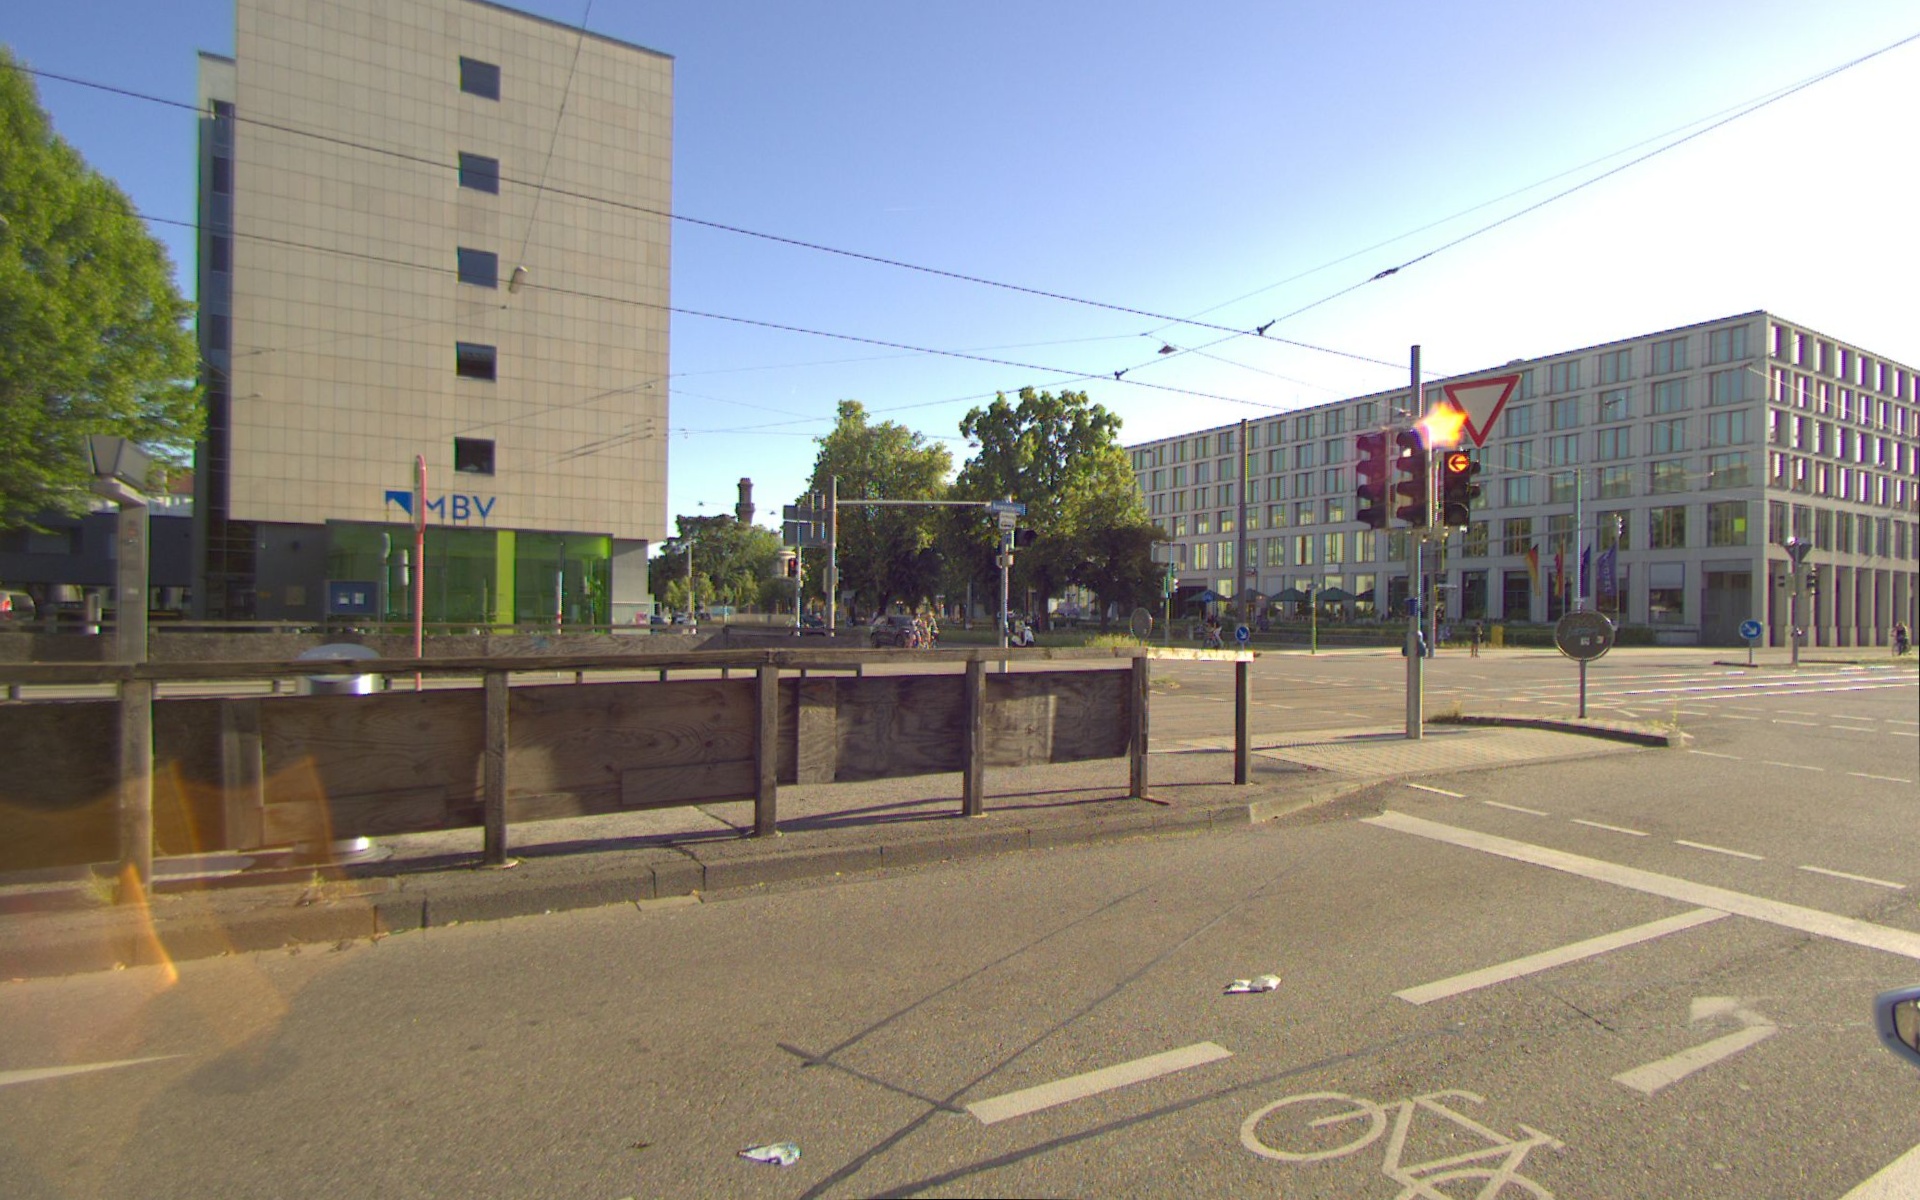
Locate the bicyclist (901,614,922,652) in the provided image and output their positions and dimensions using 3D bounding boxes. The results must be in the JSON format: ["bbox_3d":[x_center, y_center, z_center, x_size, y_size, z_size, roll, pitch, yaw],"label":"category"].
[{"bbox_3d":[-2.022,1.382,42.015,0.577,1.563,0.833,1,-2,-32],"label":"bicyclist"}]

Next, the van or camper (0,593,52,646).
[{"bbox_3d":[-27.877,0.451,27.564,3.954,1.425,1.954,4,-3,-30],"label":"van or camper"}]

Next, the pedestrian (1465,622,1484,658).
[{"bbox_3d":[25.089,1.952,49.000,0.597,1.703,0.602,1,-1,-22],"label":"pedestrian"}]

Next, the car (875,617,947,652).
[{"bbox_3d":[-2.403,1.647,48.369,1.925,1.561,3.969,2,-2,-29],"label":"car"}]

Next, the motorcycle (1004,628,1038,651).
[{"bbox_3d":[2.858,1.834,46.954,0.624,1.030,1.972,-3,1,-28],"label":"motorcycle"}]

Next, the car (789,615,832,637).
[{"bbox_3d":[-10.653,1.848,71.583,1.674,1.506,3.719,1,-1,-33],"label":"car"}]

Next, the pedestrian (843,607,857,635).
[{"bbox_3d":[-8.144,1.578,74.135,0.772,2.040,0.747,1,-1,-31],"label":"pedestrian"}]

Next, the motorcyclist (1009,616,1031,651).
[{"bbox_3d":[2.818,1.552,46.985,0.624,1.601,0.812,-3,1,-28],"label":"motorcyclist"}]

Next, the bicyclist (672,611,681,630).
[{"bbox_3d":[-24.924,1.814,88.182,0.576,1.658,0.890,1,-1,-27],"label":"bicyclist"}]

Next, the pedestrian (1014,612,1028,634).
[{"bbox_3d":[5.097,1.911,83.464,0.858,1.738,0.737,2,0,-26],"label":"pedestrian"}]

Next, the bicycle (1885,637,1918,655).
[{"bbox_3d":[44.784,2.172,47.782,1.695,0.834,0.570,1,-1,-25],"label":"bicycle"}]

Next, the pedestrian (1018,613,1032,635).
[{"bbox_3d":[5.155,1.893,79.564,0.858,1.738,0.737,2,0,-26],"label":"pedestrian"}]

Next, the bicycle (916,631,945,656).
[{"bbox_3d":[-1.256,1.828,42.380,0.576,1.032,1.666,1,-1,-27],"label":"bicycle"}]

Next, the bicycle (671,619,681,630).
[{"bbox_3d":[-24.920,2.149,88.170,0.576,1.032,1.666,1,-1,-27],"label":"bicycle"}]

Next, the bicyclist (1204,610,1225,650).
[{"bbox_3d":[11.349,1.336,44.810,0.762,1.784,0.532,1,-1,-30],"label":"bicyclist"}]

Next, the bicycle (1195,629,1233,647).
[{"bbox_3d":[11.330,1.689,44.796,1.831,0.798,0.532,1,-1,-31],"label":"bicycle"}]

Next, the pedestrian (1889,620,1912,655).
[{"bbox_3d":[44.716,1.775,47.751,0.734,1.616,0.570,1,-1,-24],"label":"pedestrian"}]

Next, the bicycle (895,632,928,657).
[{"bbox_3d":[-2.027,1.860,42.018,0.577,1.032,1.806,1,-3,-31],"label":"bicycle"}]

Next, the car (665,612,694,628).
[{"bbox_3d":[-28.145,1.982,100.827,1.975,1.472,4.179,2,0,-28],"label":"car"}]

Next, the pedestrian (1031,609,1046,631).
[{"bbox_3d":[6.245,1.575,79.687,0.858,1.738,0.737,2,0,-26],"label":"pedestrian"}]

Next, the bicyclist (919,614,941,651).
[{"bbox_3d":[-1.262,1.377,42.416,0.576,1.563,0.890,1,-1,-27],"label":"bicyclist"}]
